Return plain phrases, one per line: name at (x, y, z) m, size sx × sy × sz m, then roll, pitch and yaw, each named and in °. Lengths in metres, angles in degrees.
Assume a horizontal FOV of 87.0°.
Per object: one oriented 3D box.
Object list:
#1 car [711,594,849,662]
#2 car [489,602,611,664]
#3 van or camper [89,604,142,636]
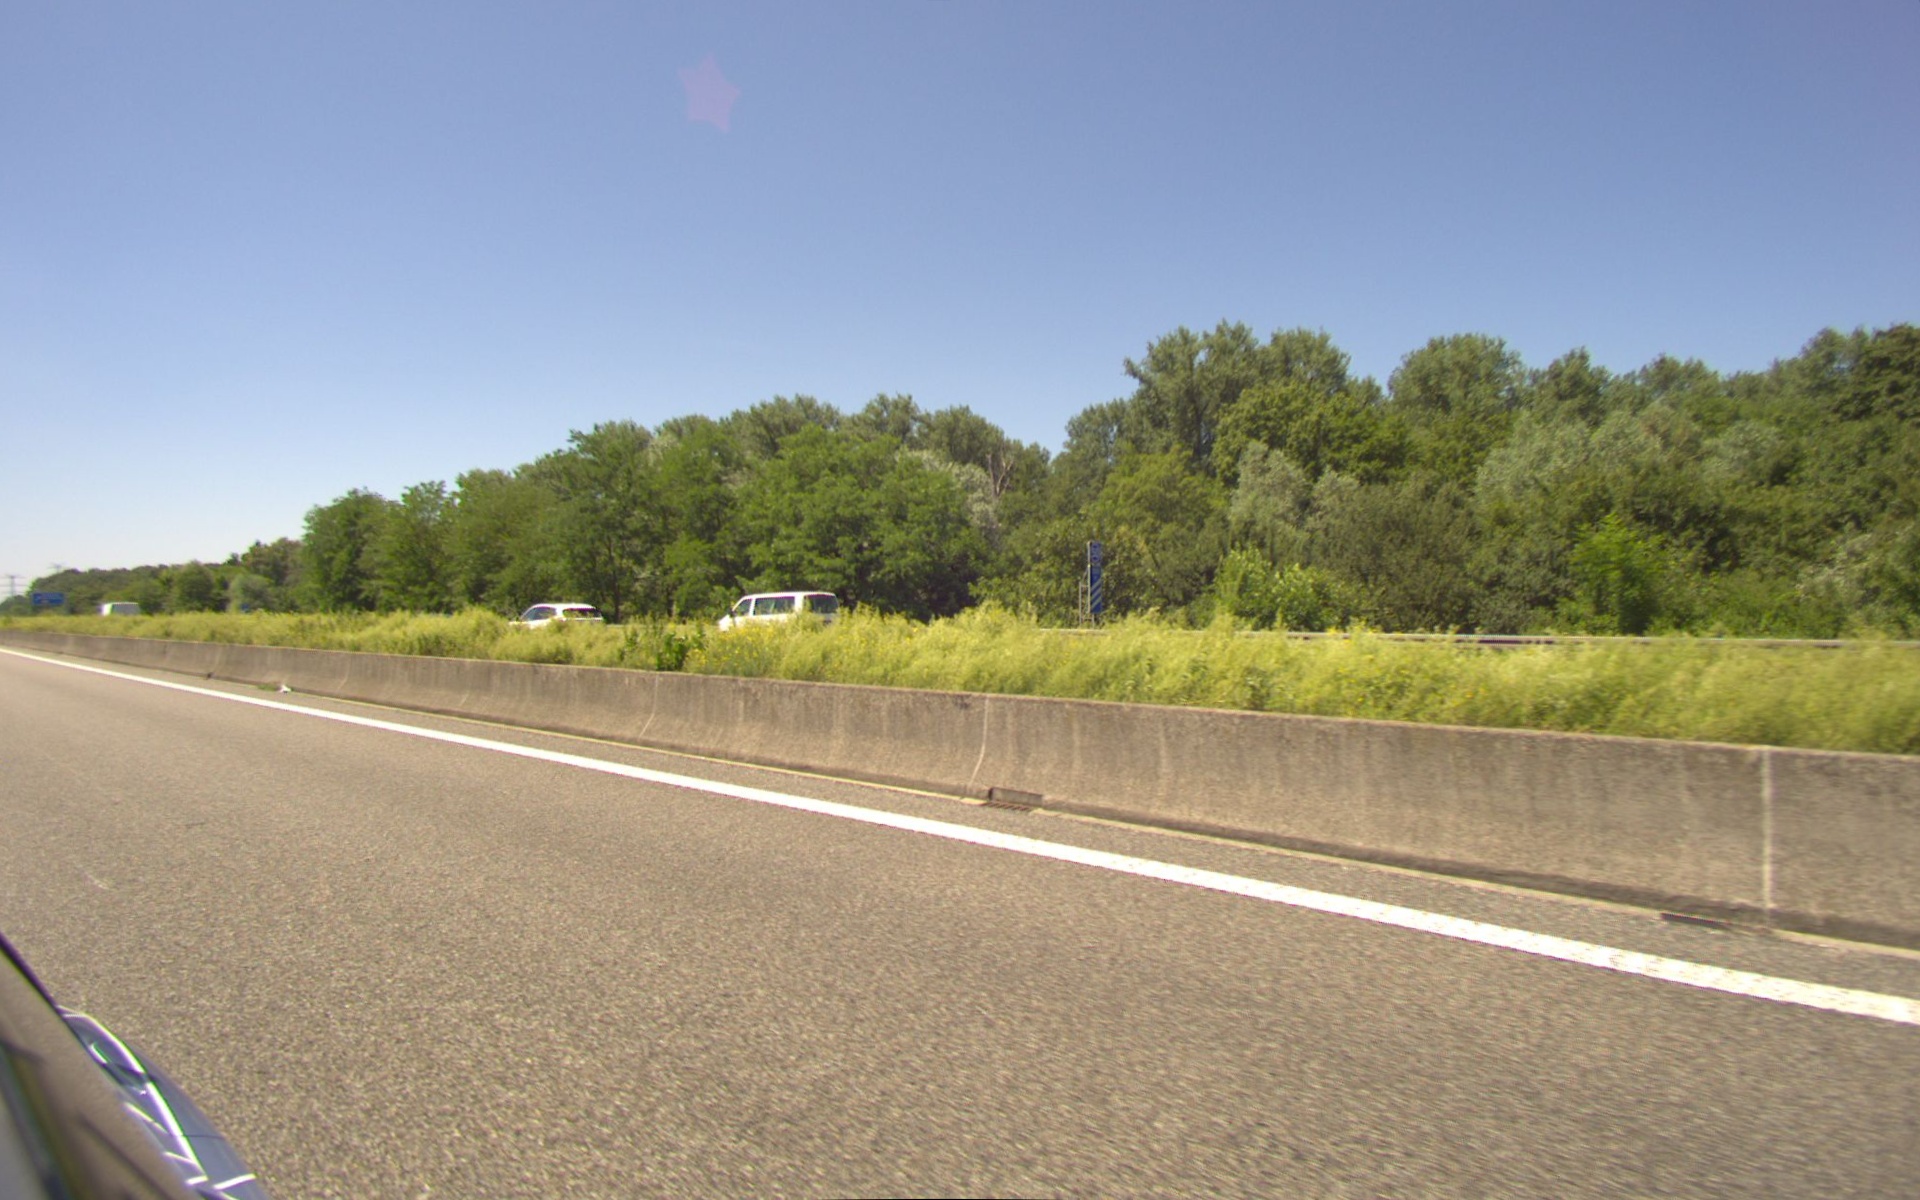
car at (-5.871, 0.877, 32.721) m, size 4.617 × 2.029 × 1.972 m, roll -1°, pitch -1°, yaw 42°
car at (-13.685, 1.056, 33.656) m, size 4.720 × 1.914 × 1.884 m, roll -1°, pitch -1°, yaw 42°
van or camper at (-65.537, 1.545, 78.484) m, size 6.758 × 2.405 × 2.226 m, roll -1°, pitch -1°, yaw 42°
